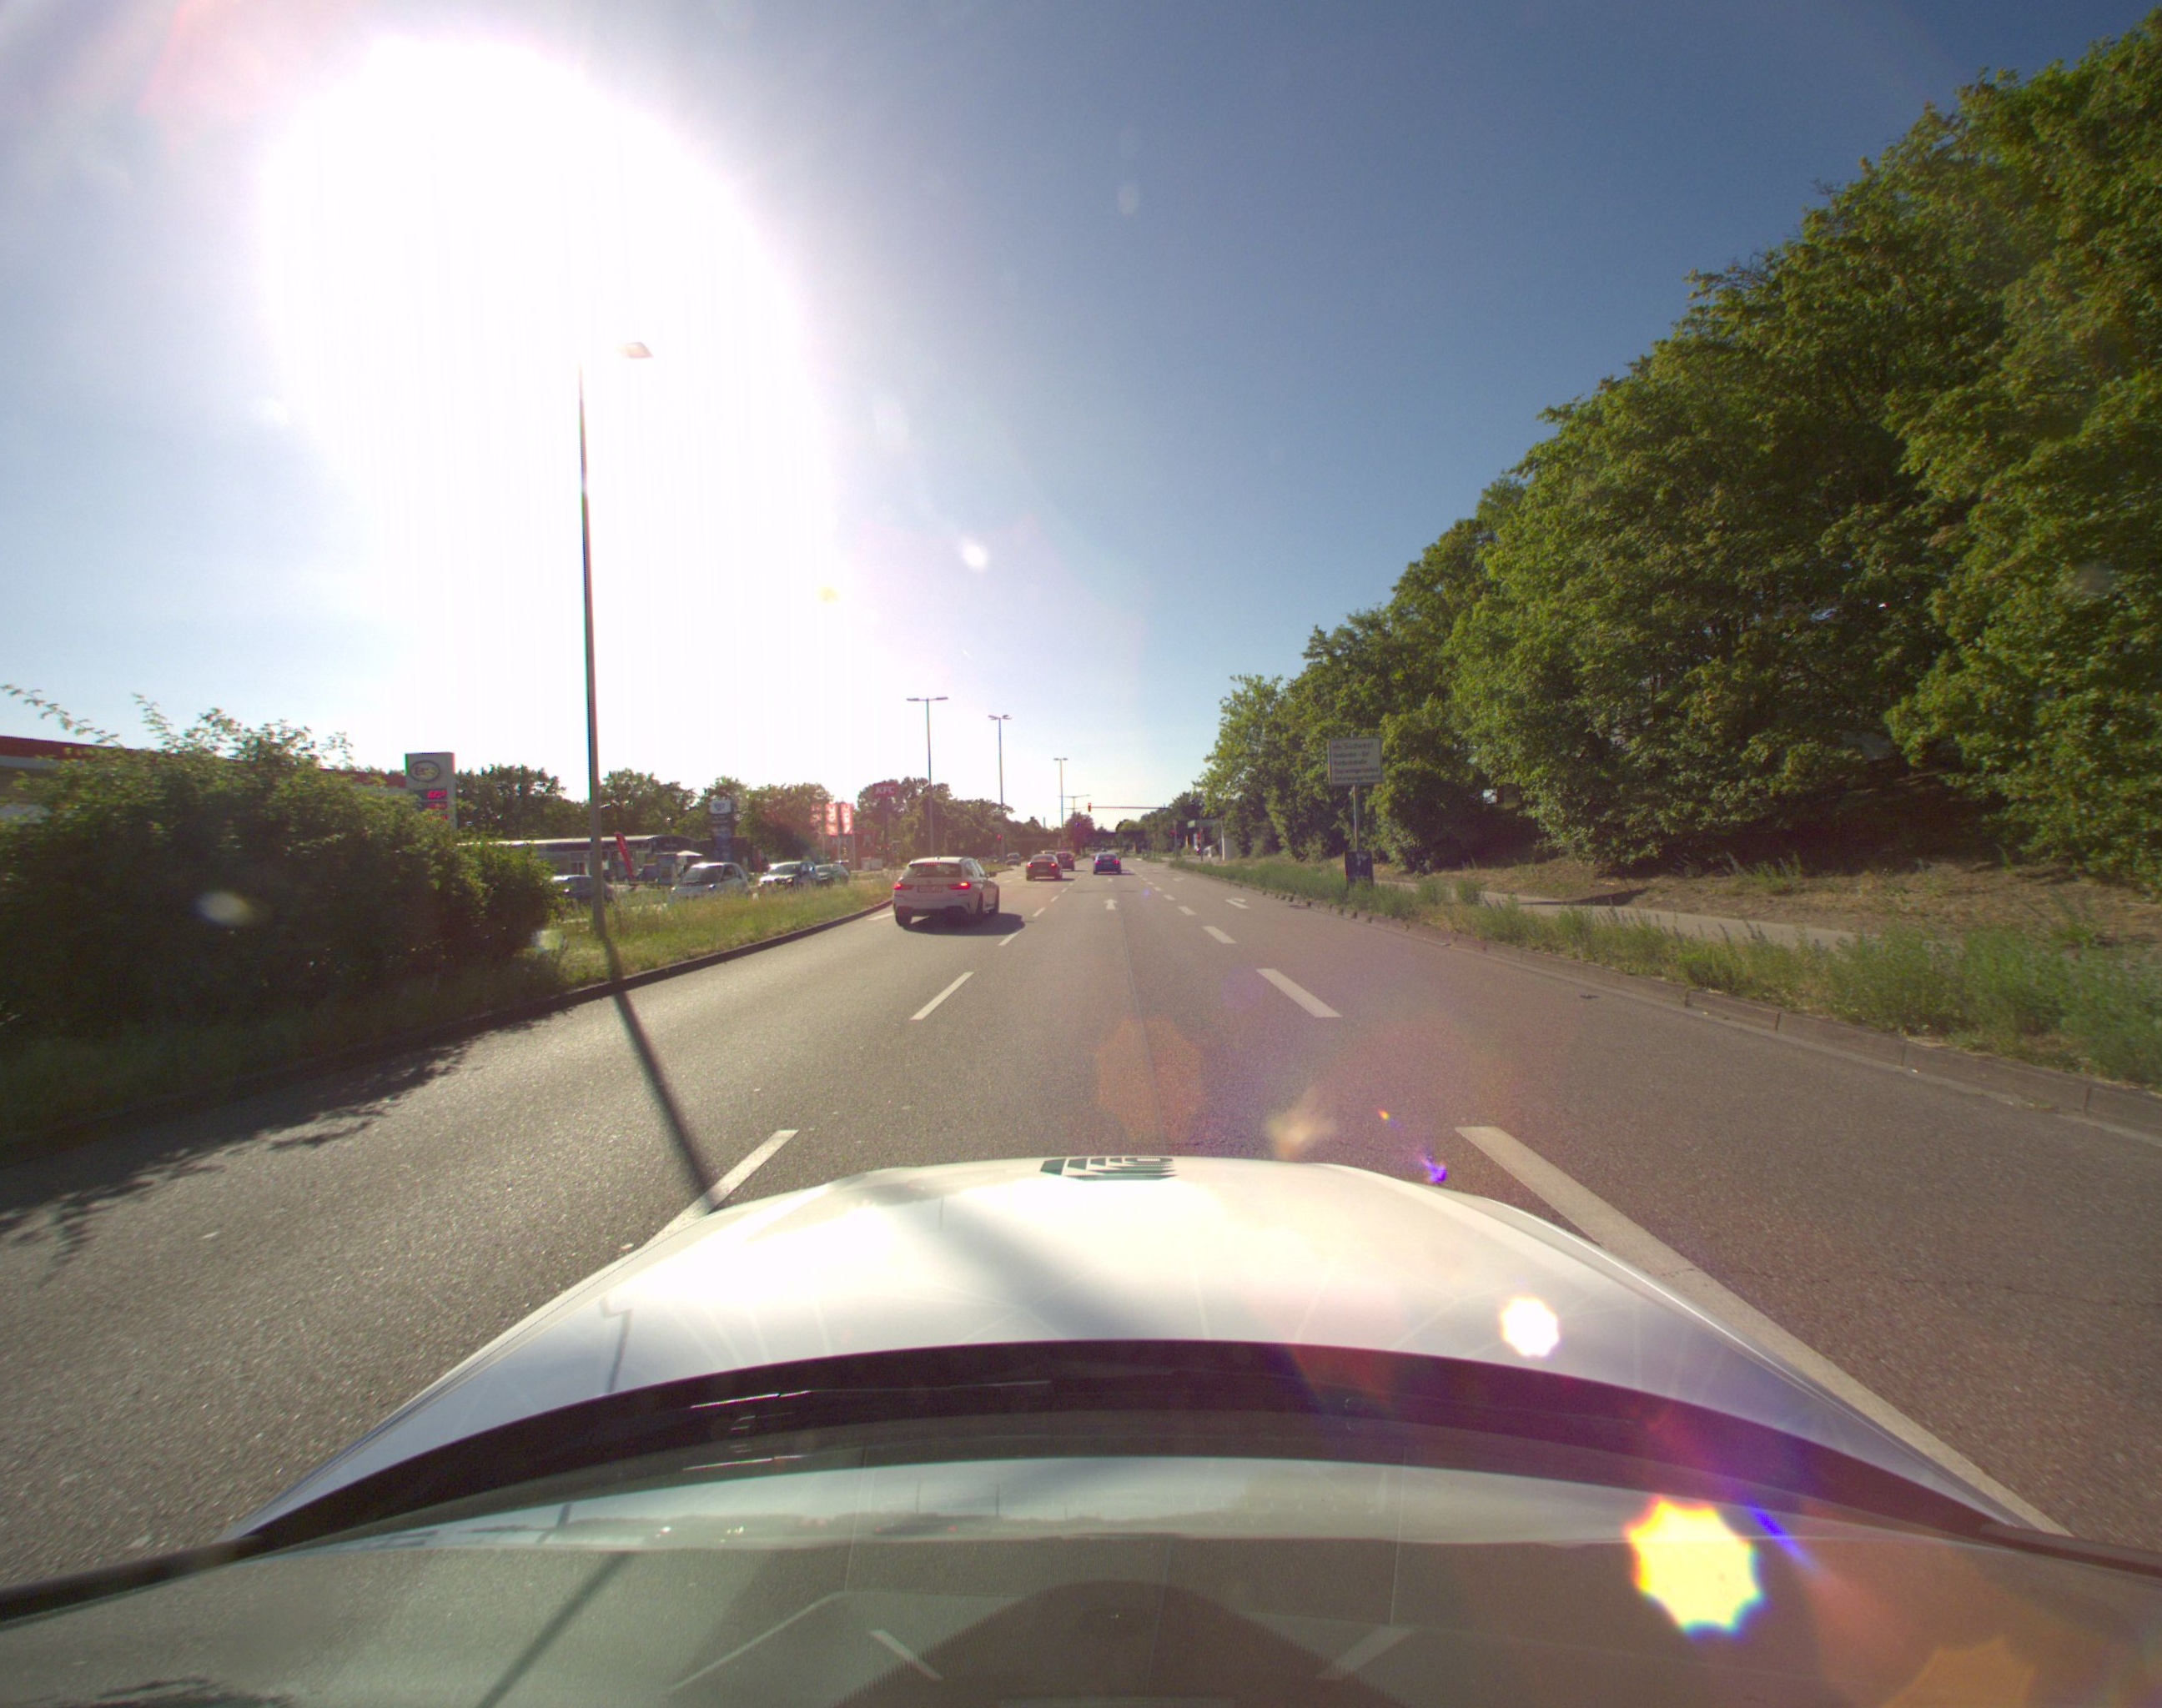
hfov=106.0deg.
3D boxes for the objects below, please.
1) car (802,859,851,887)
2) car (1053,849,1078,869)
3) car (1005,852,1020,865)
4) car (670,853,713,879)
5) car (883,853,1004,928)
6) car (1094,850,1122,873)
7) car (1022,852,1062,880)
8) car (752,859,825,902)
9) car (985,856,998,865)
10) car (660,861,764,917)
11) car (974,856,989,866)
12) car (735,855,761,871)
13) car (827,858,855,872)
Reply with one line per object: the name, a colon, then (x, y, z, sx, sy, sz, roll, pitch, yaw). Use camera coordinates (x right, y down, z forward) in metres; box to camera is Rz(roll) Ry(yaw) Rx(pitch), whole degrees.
car: (-14.866, 1.108, 47.795, 1.529, 1.452, 3.673, -3, 0, 2)
car: (-1.261, 0.398, 67.902, 1.855, 1.565, 4.549, -2, 0, 2)
car: (-9.179, 0.552, 109.266, 1.529, 1.581, 3.673, -3, 0, 2)
car: (-34.892, 1.013, 73.088, 1.812, 2.209, 4.001, -2, 0, 1)
car: (-3.016, 0.732, 18.832, 1.855, 1.455, 4.549, -2, 0, 1)
car: (1.852, 0.485, 56.070, 1.855, 1.499, 4.338, -2, 0, 2)
car: (-2.138, 0.628, 46.260, 1.855, 1.455, 4.549, -2, 0, 2)
car: (-11.997, 1.046, 33.639, 1.529, 1.623, 3.673, -2, 0, 2)
car: (-15.087, 1.083, 137.697, 1.697, 1.402, 3.725, -2, 0, 2)
car: (-11.358, 1.030, 25.287, 1.488, 1.508, 3.488, -2, 0, 2)
car: (-15.149, 1.109, 124.187, 1.697, 1.402, 3.725, -2, 0, 2)
car: (-42.153, 1.156, 103.075, 1.789, 2.013, 3.747, -2, 0, -43)
car: (-31.945, 1.489, 108.418, 1.938, 1.783, 4.037, -2, 0, -42)
